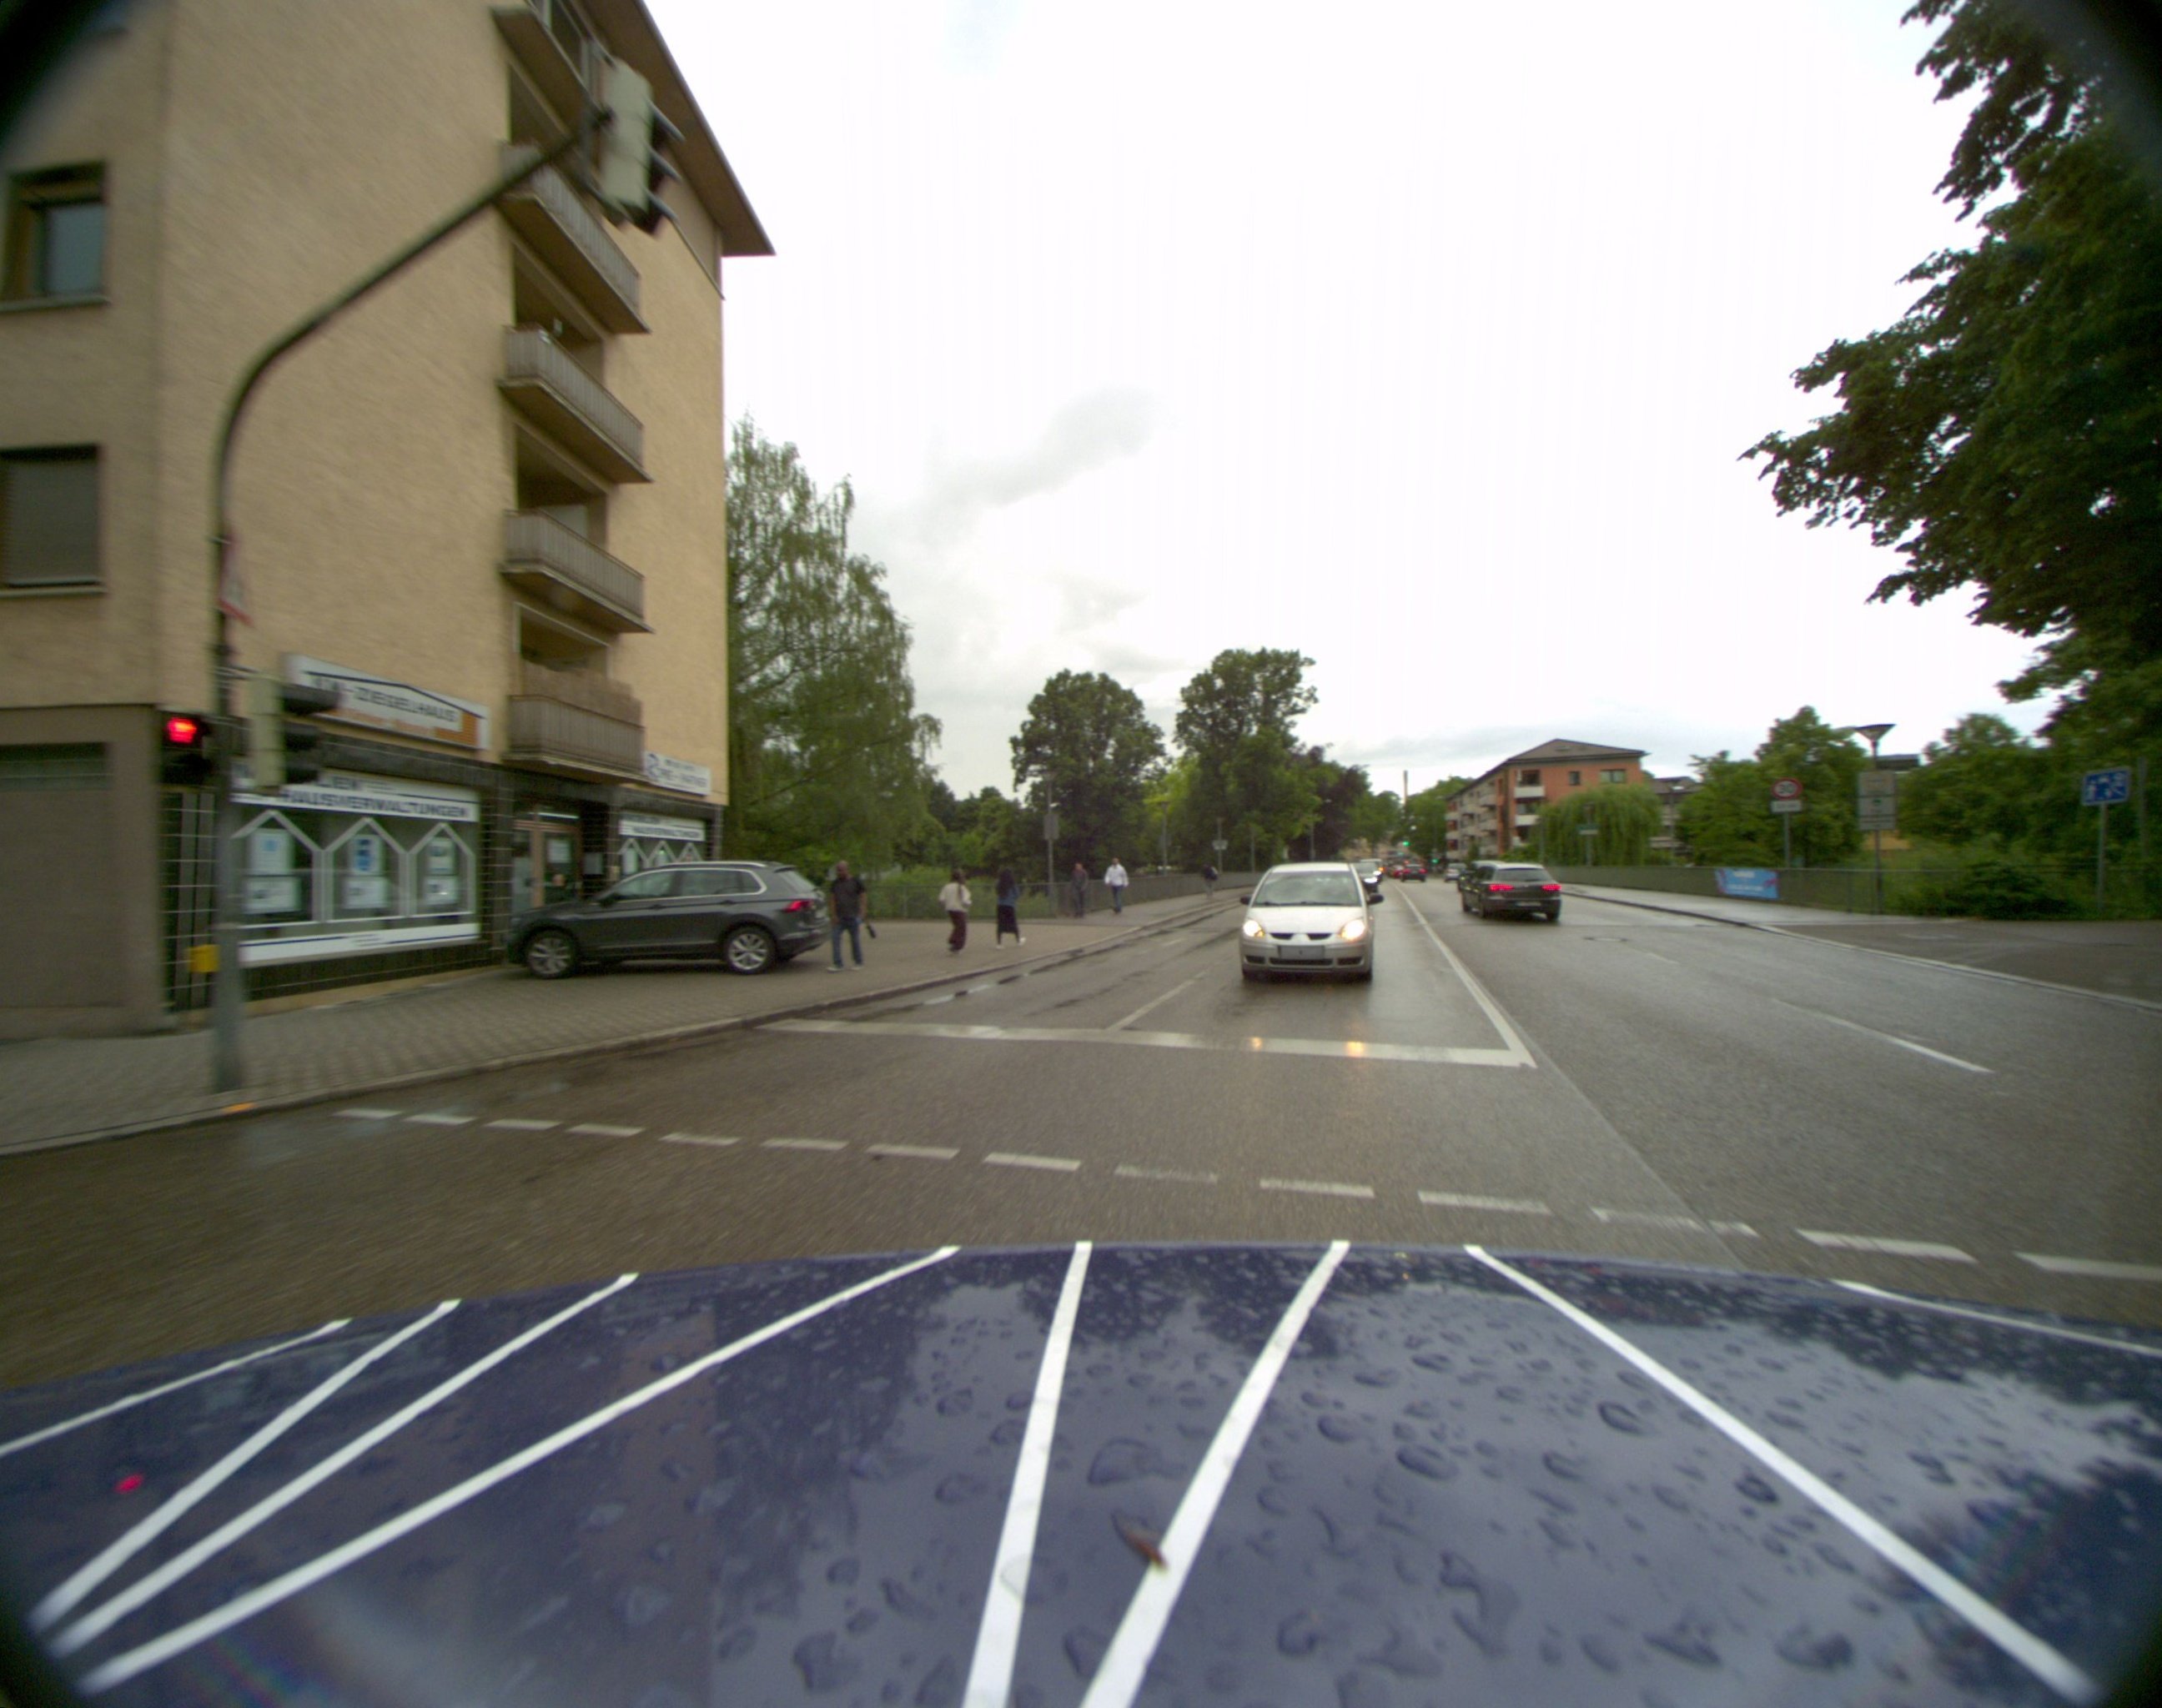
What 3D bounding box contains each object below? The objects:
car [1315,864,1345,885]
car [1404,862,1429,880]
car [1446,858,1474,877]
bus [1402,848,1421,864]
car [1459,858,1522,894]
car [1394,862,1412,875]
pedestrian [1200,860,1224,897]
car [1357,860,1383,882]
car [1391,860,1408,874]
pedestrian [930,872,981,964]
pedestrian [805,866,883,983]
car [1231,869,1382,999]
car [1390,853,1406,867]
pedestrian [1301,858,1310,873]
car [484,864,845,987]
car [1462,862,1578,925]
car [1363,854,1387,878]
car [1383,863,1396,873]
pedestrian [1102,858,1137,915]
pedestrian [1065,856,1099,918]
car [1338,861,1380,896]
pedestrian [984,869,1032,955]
[{"bbox_3d":[19.354,1.557,58.935,1.903,1.537,4.006,-1,0,22],"label":"car"},{"bbox_3d":[27.545,1.368,62.448,1.711,1.408,4.100,0,0,21],"label":"car"},{"bbox_3d":[29.340,1.051,58.922,1.627,1.411,3.692,-1,0,22],"label":"car"},{"bbox_3d":[63.187,0.388,145.429,2.696,2.922,12.104,0,0,21],"label":"bus"},{"bbox_3d":[18.083,0.929,33.740,1.730,1.451,4.434,-1,0,19],"label":"car"},{"bbox_3d":[36.849,1.632,86.948,1.783,1.394,4.226,0,-1,22],"label":"car"},{"bbox_3d":[5.840,1.076,33.864,0.863,1.609,0.841,0,0,21],"label":"pedestrian"},{"bbox_3d":[21.546,1.272,56.588,1.716,1.508,4.095,-2,-1,21],"label":"car"},{"bbox_3d":[40.954,1.630,97.655,1.890,1.724,4.378,0,-1,22],"label":"car"},{"bbox_3d":[-2.211,1.106,13.479,0.763,1.565,0.781,1,0,-1],"label":"pedestrian"},{"bbox_3d":[-3.523,1.012,11.339,0.761,1.667,0.782,1,0,21],"label":"pedestrian"},{"bbox_3d":[3.576,1.018,11.504,1.716,1.508,4.815,-2,-1,21],"label":"car"},{"bbox_3d":[54.567,1.018,130.891,2.292,2.294,6.520,0,-1,21],"label":"car"},{"bbox_3d":[26.454,1.362,89.615,0.848,1.666,1.169,1,0,21],"label":"pedestrian"},{"bbox_3d":[-6.020,0.984,11.494,4.380,1.639,1.882,0,0,-6],"label":"car"},{"bbox_3d":[11.293,0.943,19.845,1.813,1.441,4.213,-1,-1,19],"label":"car"},{"bbox_3d":[27.838,1.124,71.892,2.034,2.118,4.006,-1,0,22],"label":"car"},{"bbox_3d":[47.265,2.114,116.346,1.747,1.431,4.007,-1,-1,22],"label":"car"},{"bbox_3d":[1.211,1.022,23.943,0.780,1.742,1.062,-1,0,21],"label":"pedestrian"},{"bbox_3d":[0.037,0.950,22.279,0.761,1.798,0.782,0,0,21],"label":"pedestrian"},{"bbox_3d":[13.033,1.097,35.587,1.716,1.508,4.095,-2,-1,21],"label":"car"},{"bbox_3d":[-1.410,1.104,14.781,0.658,1.591,0.797,1,0,19],"label":"pedestrian"}]
